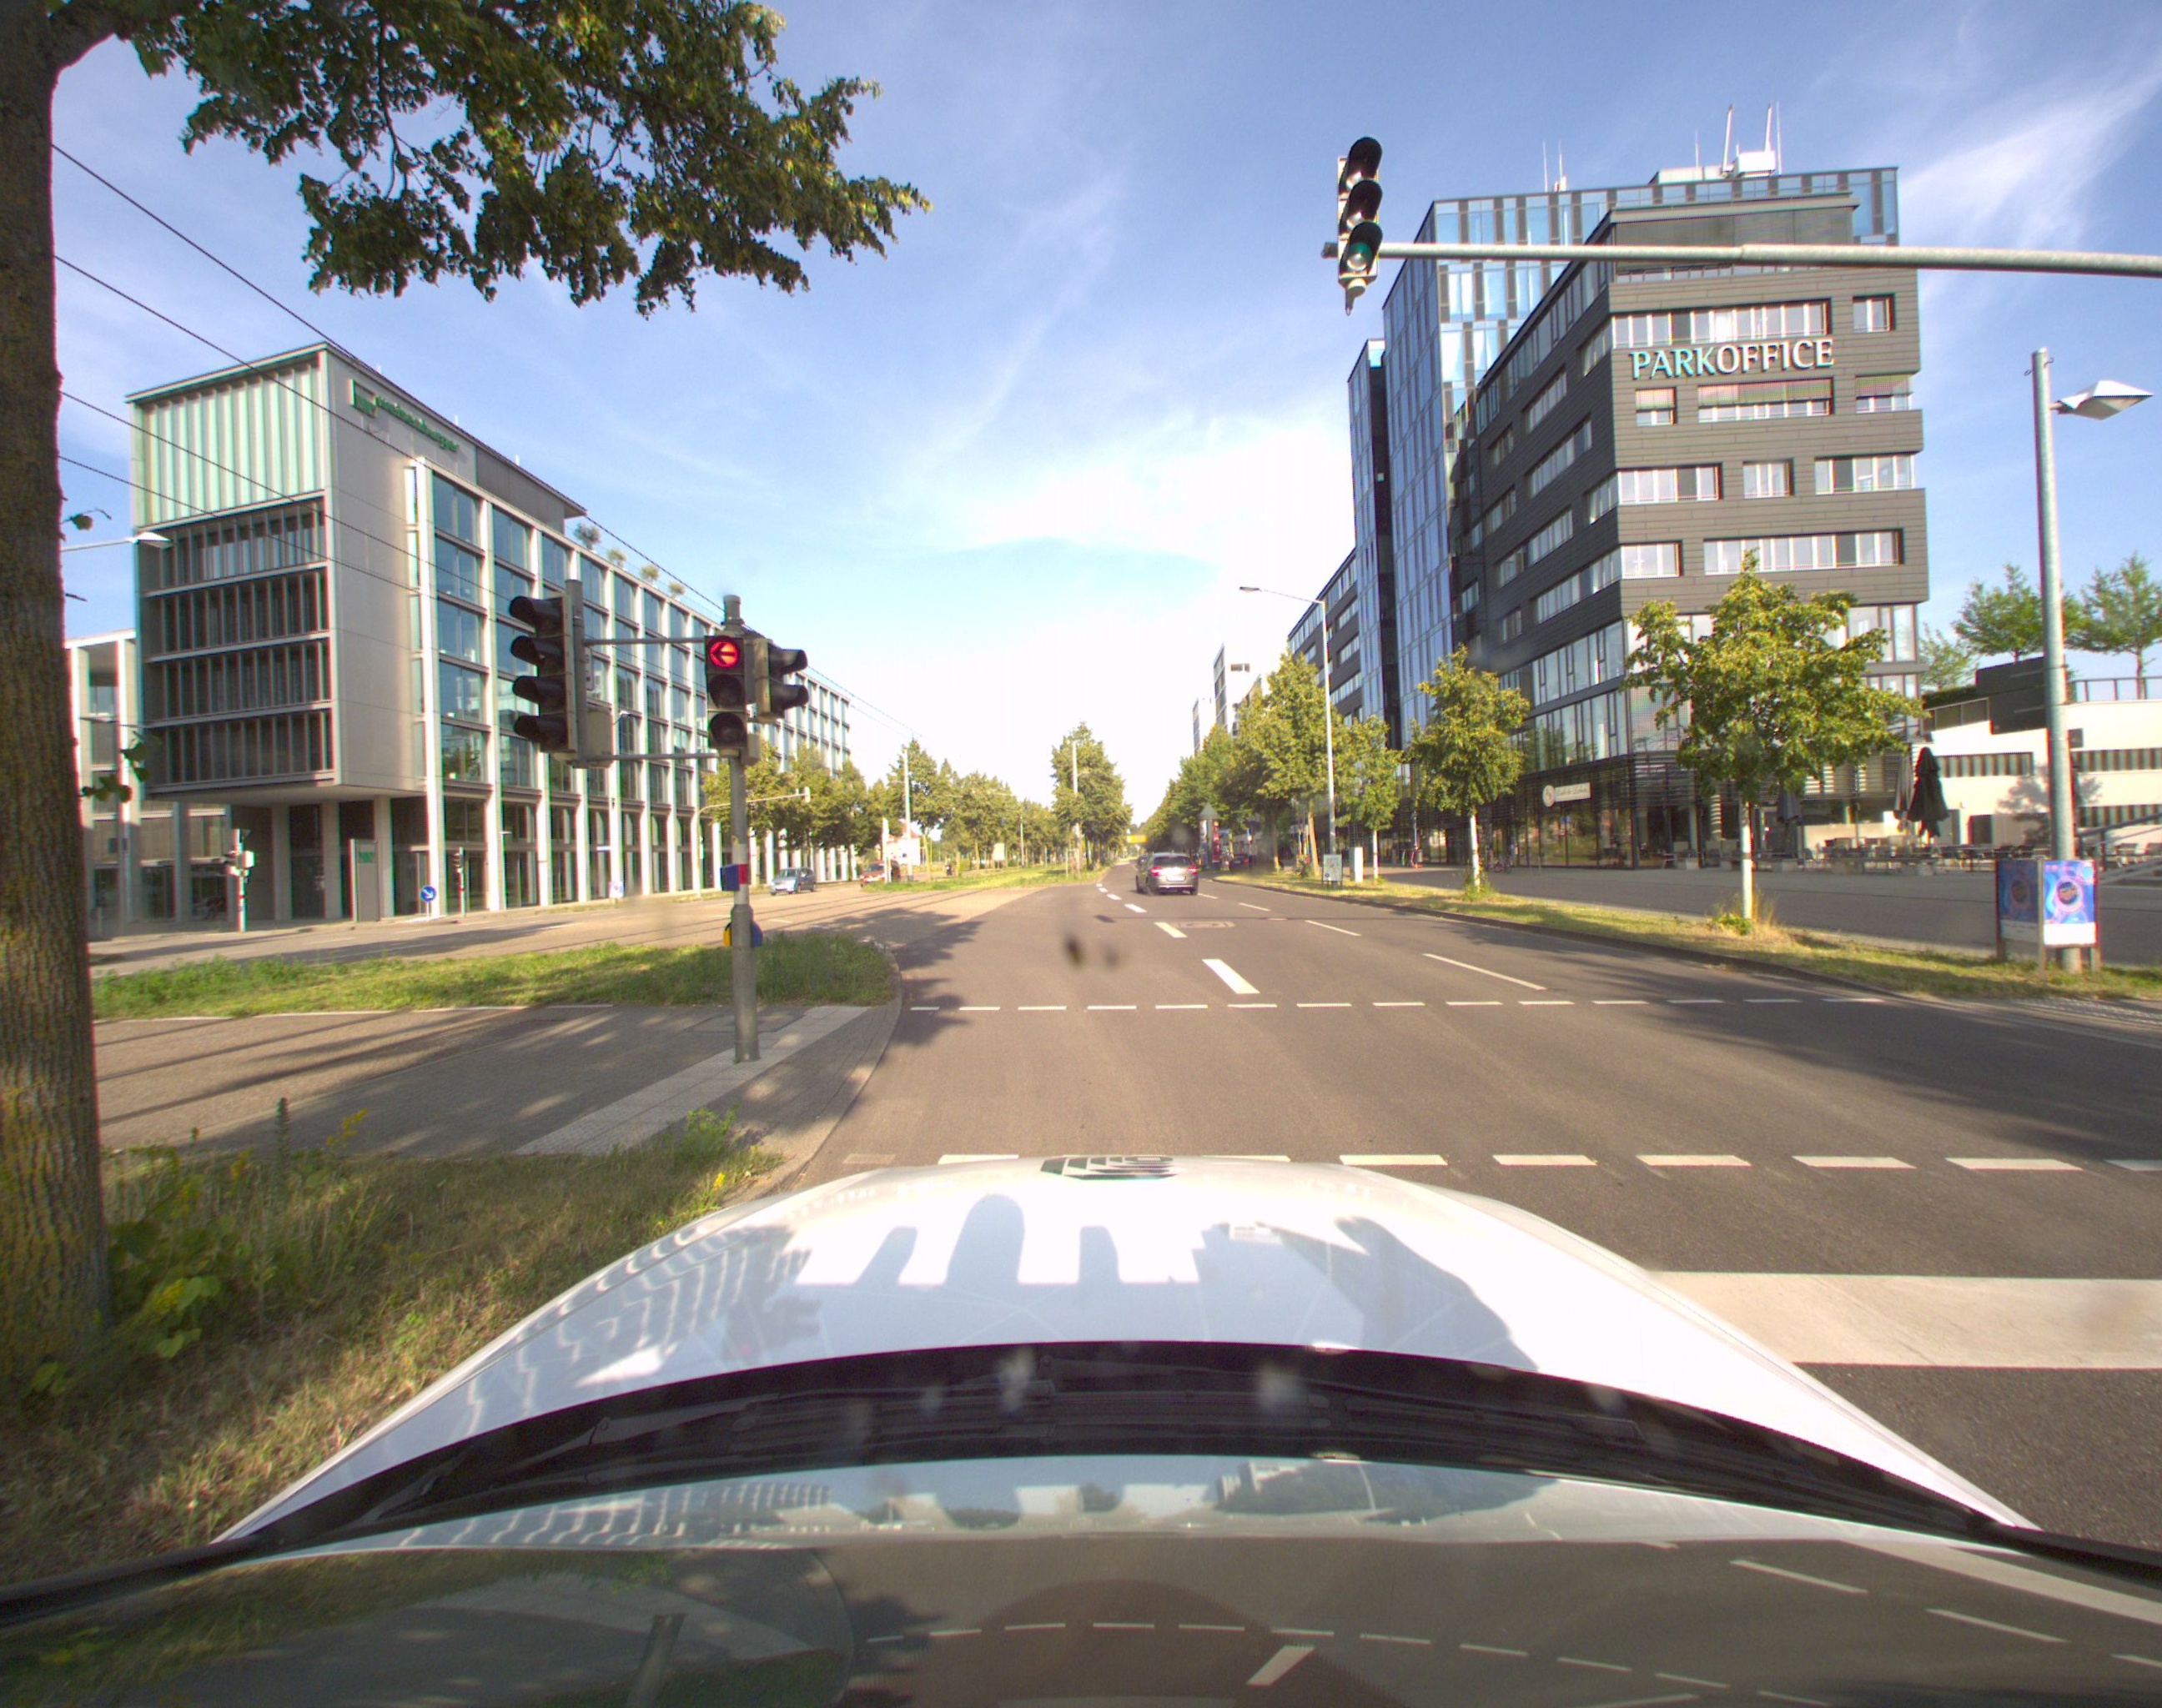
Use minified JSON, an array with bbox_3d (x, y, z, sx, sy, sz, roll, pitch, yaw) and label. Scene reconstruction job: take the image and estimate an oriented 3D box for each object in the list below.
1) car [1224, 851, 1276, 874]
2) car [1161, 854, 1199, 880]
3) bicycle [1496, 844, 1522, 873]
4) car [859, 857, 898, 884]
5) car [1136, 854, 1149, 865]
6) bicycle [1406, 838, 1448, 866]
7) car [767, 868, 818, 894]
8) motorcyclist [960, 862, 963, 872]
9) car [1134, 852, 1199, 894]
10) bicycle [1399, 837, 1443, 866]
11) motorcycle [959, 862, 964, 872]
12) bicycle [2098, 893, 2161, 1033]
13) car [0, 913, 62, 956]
[{"bbox_3d":[11.077,0.555,53.319,1.757,1.424,3.986,-1,-1,37],"label":"car"},{"bbox_3d":[5.551,0.700,45.932,1.556,1.424,3.905,0,0,-1],"label":"car"},{"bbox_3d":[20.583,0.212,39.212,0.371,1.346,1.896,0,-1,4],"label":"bicycle"},{"bbox_3d":[-13.652,1.075,55.008,1.679,1.775,3.881,0,-1,-1],"label":"car"},{"bbox_3d":[9.176,0.836,121.499,1.852,1.524,3.788,0,-1,3],"label":"car"},{"bbox_3d":[22.123,-0.132,52.137,2.418,1.746,0.556,-1,-1,12],"label":"bicycle"},{"bbox_3d":[-17.146,1.563,48.522,1.633,1.443,3.955,0,-1,-1],"label":"car"},{"bbox_3d":[-18.857,2.068,128.404,0.484,1.564,0.455,0,-1,1],"label":"motorcyclist"},{"bbox_3d":[3.010,0.659,29.413,1.691,1.424,4.034,0,-1,-4],"label":"car"},{"bbox_3d":[22.160,-0.157,53.076,2.547,1.857,0.571,-1,-1,12],"label":"bicycle"},{"bbox_3d":[-18.850,2.077,128.266,0.472,1.531,1.993,0,-1,2],"label":"motorcycle"},{"bbox_3d":[9.058,0.810,6.130,2.128,1.013,0.571,0,-1,-1],"label":"bicycle"},{"bbox_3d":[-40.482,2.992,30.446,3.477,1.424,1.581,-1,-1,12],"label":"car"}]
